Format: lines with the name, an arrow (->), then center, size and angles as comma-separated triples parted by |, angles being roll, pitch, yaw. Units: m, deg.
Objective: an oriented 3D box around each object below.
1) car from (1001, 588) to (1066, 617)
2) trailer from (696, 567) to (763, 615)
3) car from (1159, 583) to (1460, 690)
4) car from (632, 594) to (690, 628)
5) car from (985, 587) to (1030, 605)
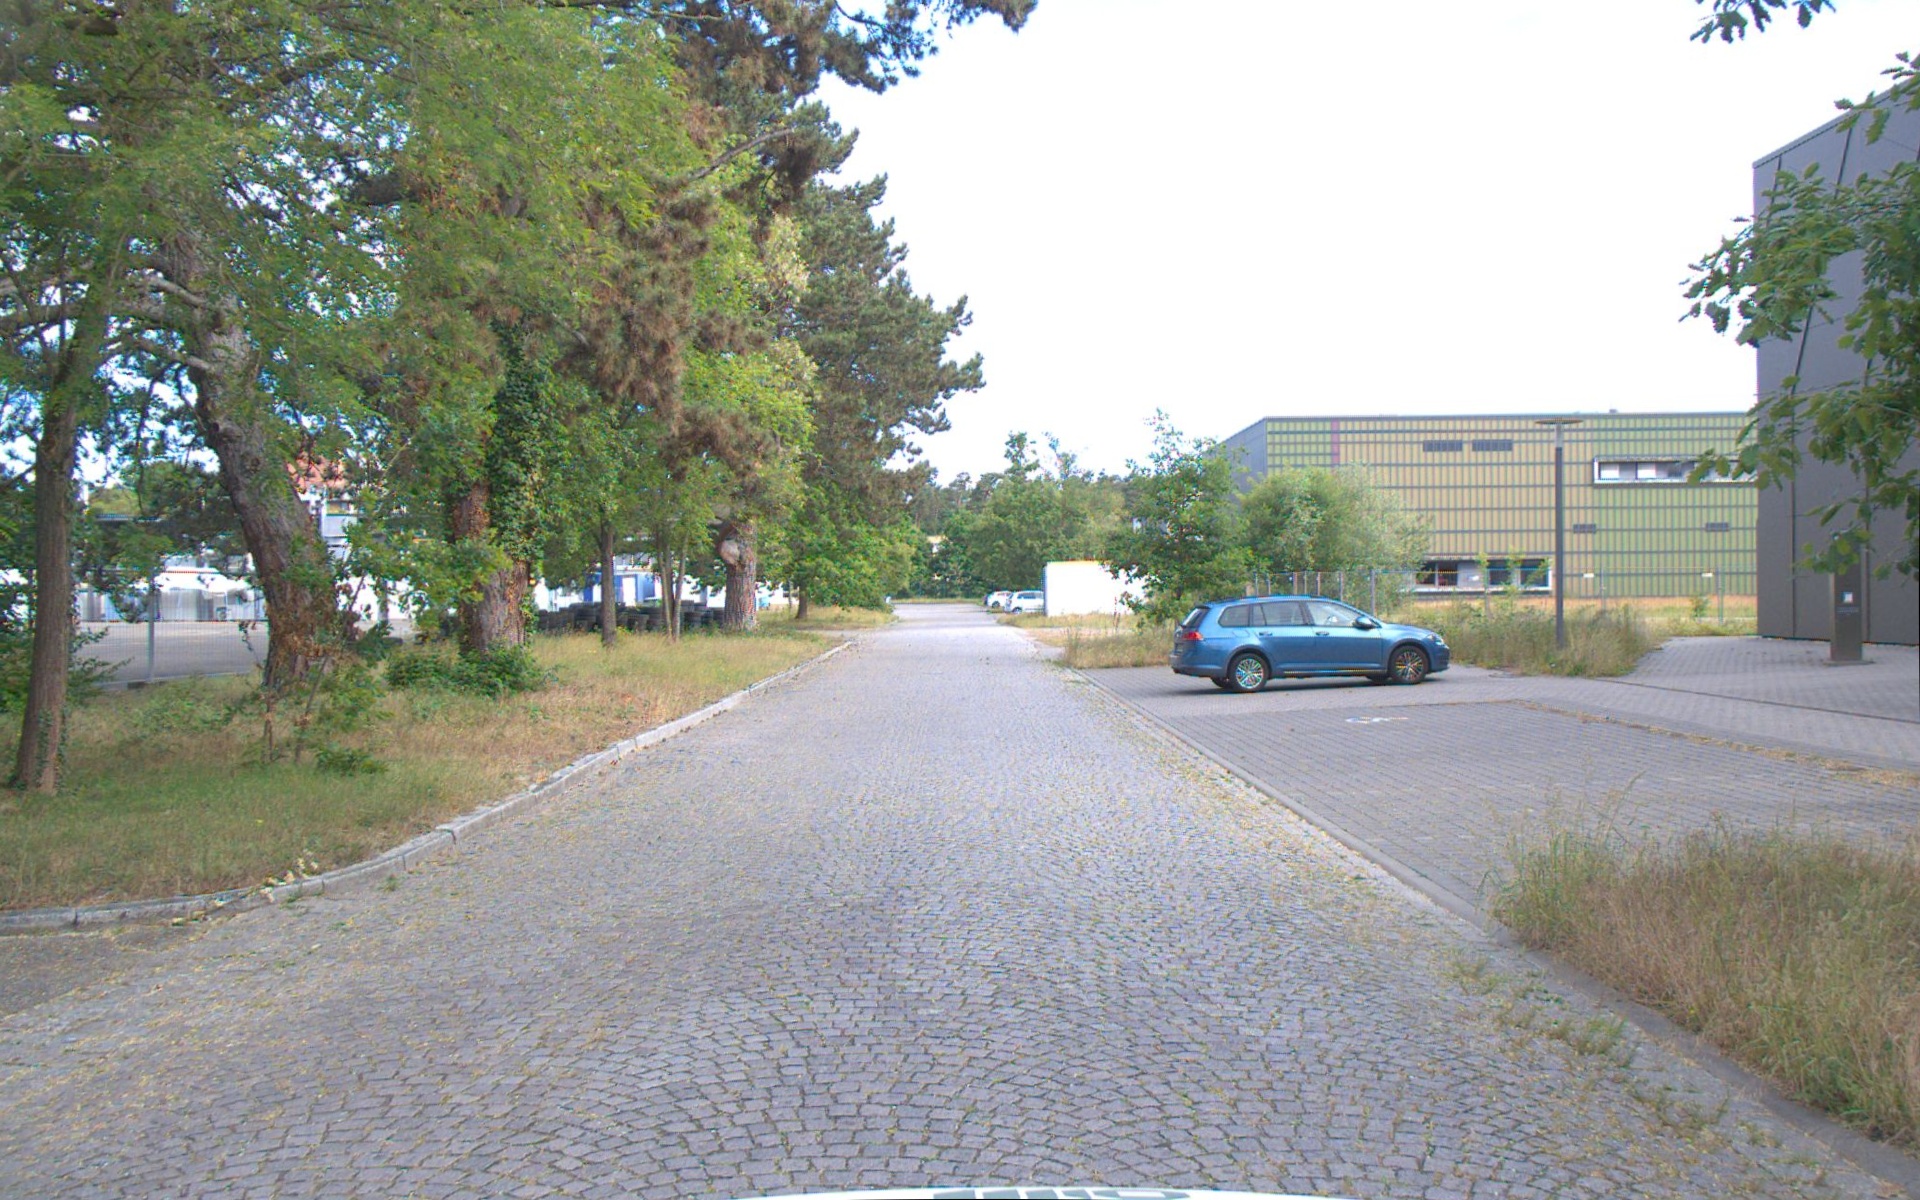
car -> 4.439, 0.146, 100.421 | 3.773, 1.683, 1.685 | -1, 0, -3
trailer -> -15.622, -0.638, 112.810 | 3.093, 3.121, 8.785 | -1, 0, 1
car -> 5.615, 0.564, 26.912 | 4.433, 1.468, 1.822 | -3, 0, -4
car -> -13.599, 0.472, 75.388 | 1.729, 1.478, 3.490 | -1, 0, 5
car -> 4.180, -0.335, 146.568 | 3.942, 1.528, 1.548 | -1, 0, 0
